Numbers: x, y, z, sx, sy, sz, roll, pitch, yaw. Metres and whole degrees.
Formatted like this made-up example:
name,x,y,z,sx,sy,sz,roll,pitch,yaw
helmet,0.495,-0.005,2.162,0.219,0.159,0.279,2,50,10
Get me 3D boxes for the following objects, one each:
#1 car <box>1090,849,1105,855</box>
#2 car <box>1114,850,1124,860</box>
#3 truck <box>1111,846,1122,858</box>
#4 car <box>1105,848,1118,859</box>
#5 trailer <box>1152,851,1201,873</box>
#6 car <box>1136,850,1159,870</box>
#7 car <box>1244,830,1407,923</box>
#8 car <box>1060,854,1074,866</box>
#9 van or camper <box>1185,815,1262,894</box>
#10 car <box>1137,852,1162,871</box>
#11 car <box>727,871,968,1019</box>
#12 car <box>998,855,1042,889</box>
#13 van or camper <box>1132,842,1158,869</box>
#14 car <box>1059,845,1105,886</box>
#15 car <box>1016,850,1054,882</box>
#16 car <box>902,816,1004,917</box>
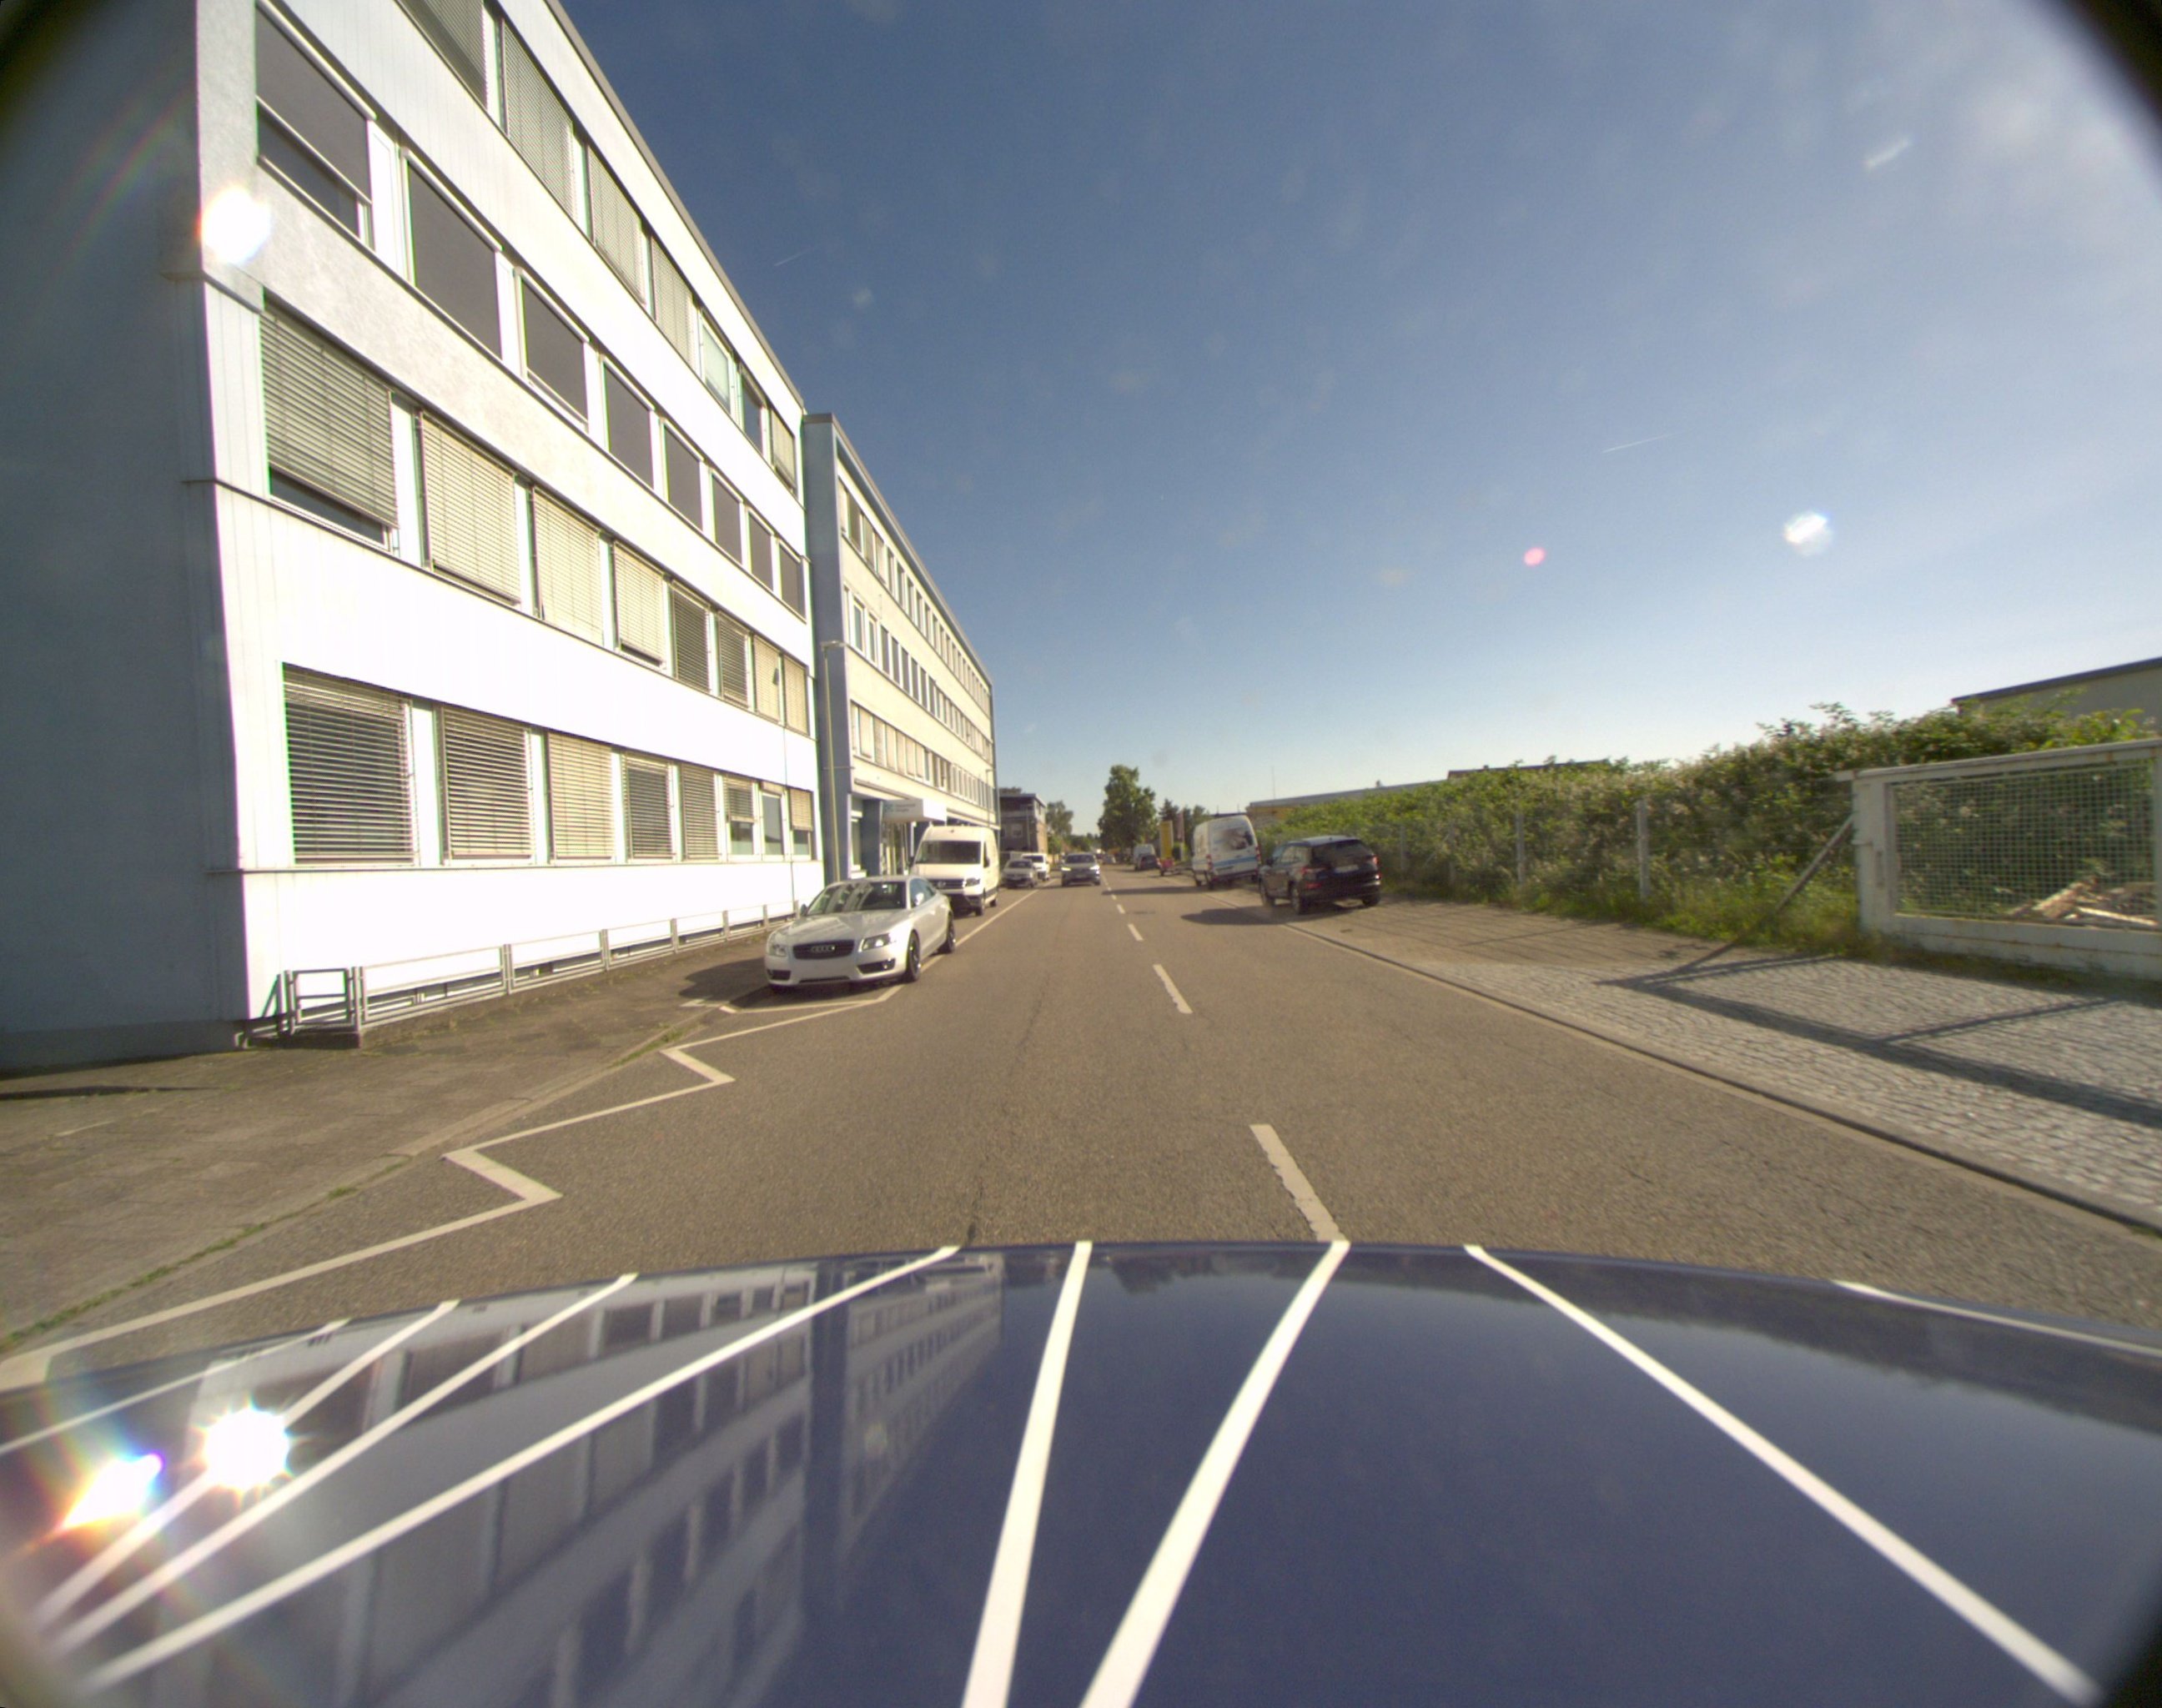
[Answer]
name,x,y,z,sx,sy,sz,roll,pitch,yaw
car,4.455,-0.511,208.757,1.871,1.412,4.539,-1,0,37
car,7.723,0.223,152.279,1.779,1.838,4.616,-5,0,4
truck,8.593,-0.423,183.869,2.173,2.698,5.749,-4,1,1
car,4.594,-0.078,115.378,1.751,1.439,4.360,-3,0,0
trailer,6.220,0.540,50.071,2.382,1.073,6.246,-6,-1,0
car,6.530,0.547,74.667,1.998,1.728,4.576,-6,0,4
car,5.579,0.464,18.179,2.035,1.684,5.106,-7,0,-1
car,-1.954,0.842,107.594,1.937,1.635,4.769,-2,0,-1
van or camper,5.663,0.011,31.028,1.971,2.669,5.948,-8,0,2
car,6.213,0.655,69.392,1.804,1.501,5.002,-6,0,1
car,-3.079,1.114,11.354,1.899,1.397,5.123,-4,1,0
car,-3.211,0.915,41.051,1.894,1.551,5.090,-3,0,0
van or camper,6.706,0.137,80.212,2.076,2.534,6.404,-7,0,1
car,0.060,0.533,37.628,1.998,1.750,5.015,-3,0,0
car,-2.884,0.736,48.756,1.894,1.821,5.091,-3,0,2
car,-3.620,0.350,22.689,1.999,2.582,6.051,-1,-1,0
